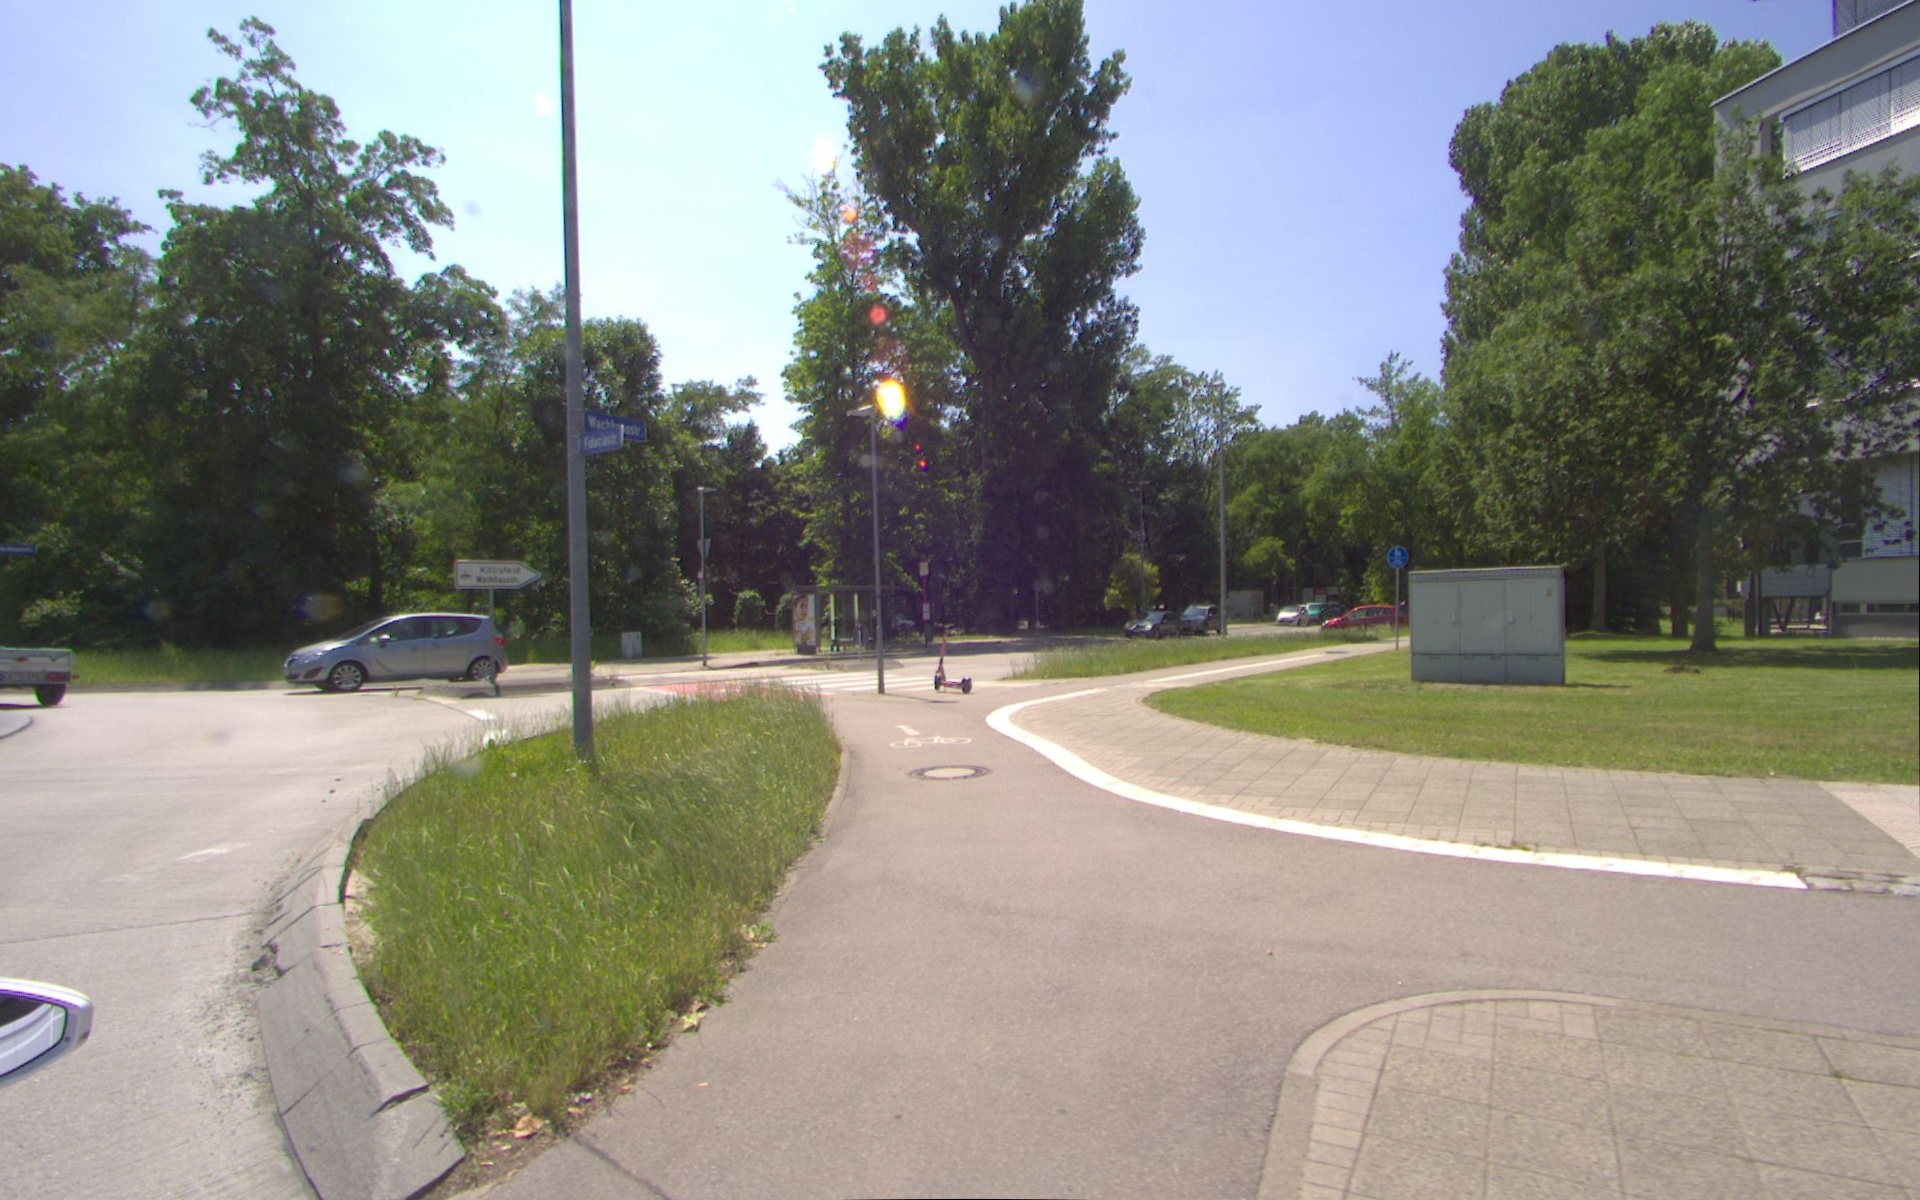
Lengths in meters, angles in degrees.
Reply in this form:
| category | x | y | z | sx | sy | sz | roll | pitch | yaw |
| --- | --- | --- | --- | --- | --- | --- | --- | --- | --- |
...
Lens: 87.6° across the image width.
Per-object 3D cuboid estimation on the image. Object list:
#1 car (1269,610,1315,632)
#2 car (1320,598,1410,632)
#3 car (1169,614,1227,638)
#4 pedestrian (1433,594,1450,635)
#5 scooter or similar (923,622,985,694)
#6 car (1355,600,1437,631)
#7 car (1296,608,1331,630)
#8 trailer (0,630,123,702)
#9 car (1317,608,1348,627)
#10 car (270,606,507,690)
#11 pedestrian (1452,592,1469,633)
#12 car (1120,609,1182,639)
| category | x | y | z | sx | sy | sz | roll | pitch | yaw |
| --- | --- | --- | --- | --- | --- | --- | --- | --- | --- |
| car | 24.223 | 1.523 | 73.036 | 1.975 | 1.488 | 3.973 | -2 | -2 | 37 |
| car | 19.056 | 0.730 | 47.117 | 3.632 | 1.502 | 1.860 | -2 | -2 | 32 |
| car | 13.731 | 1.484 | 57.633 | 1.974 | 1.327 | 3.976 | -2 | -2 | 35 |
| pedestrian | 19.465 | 0.579 | 40.501 | 0.578 | 1.637 | 0.485 | -1 | -1 | 23 |
| scooter or similar | -0.115 | 1.014 | 17.767 | 0.442 | 1.217 | 1.391 | 0 | -1 | -31 |
| car | 22.202 | 0.797 | 51.016 | 3.632 | 1.502 | 1.860 | -2 | -2 | 32 |
| car | 26.990 | 1.450 | 76.407 | 1.713 | 1.563 | 3.425 | -2 | -2 | 35 |
| trailer | -16.335 | 1.088 | 16.763 | 3.294 | 1.111 | 2.126 | -1 | -1 | 17 |
| car | 30.287 | 1.415 | 81.324 | 1.711 | 1.513 | 3.426 | -1 | 0 | 32 |
| car | -12.130 | 0.977 | 21.437 | 1.772 | 1.627 | 4.090 | -2 | -2 | 44 |
| pedestrian | 20.137 | 0.507 | 40.287 | 0.563 | 1.629 | 0.642 | -1 | -1 | 24 |
| car | 10.056 | 1.238 | 52.500 | 1.680 | 1.506 | 3.975 | 2 | 0 | 35 |
